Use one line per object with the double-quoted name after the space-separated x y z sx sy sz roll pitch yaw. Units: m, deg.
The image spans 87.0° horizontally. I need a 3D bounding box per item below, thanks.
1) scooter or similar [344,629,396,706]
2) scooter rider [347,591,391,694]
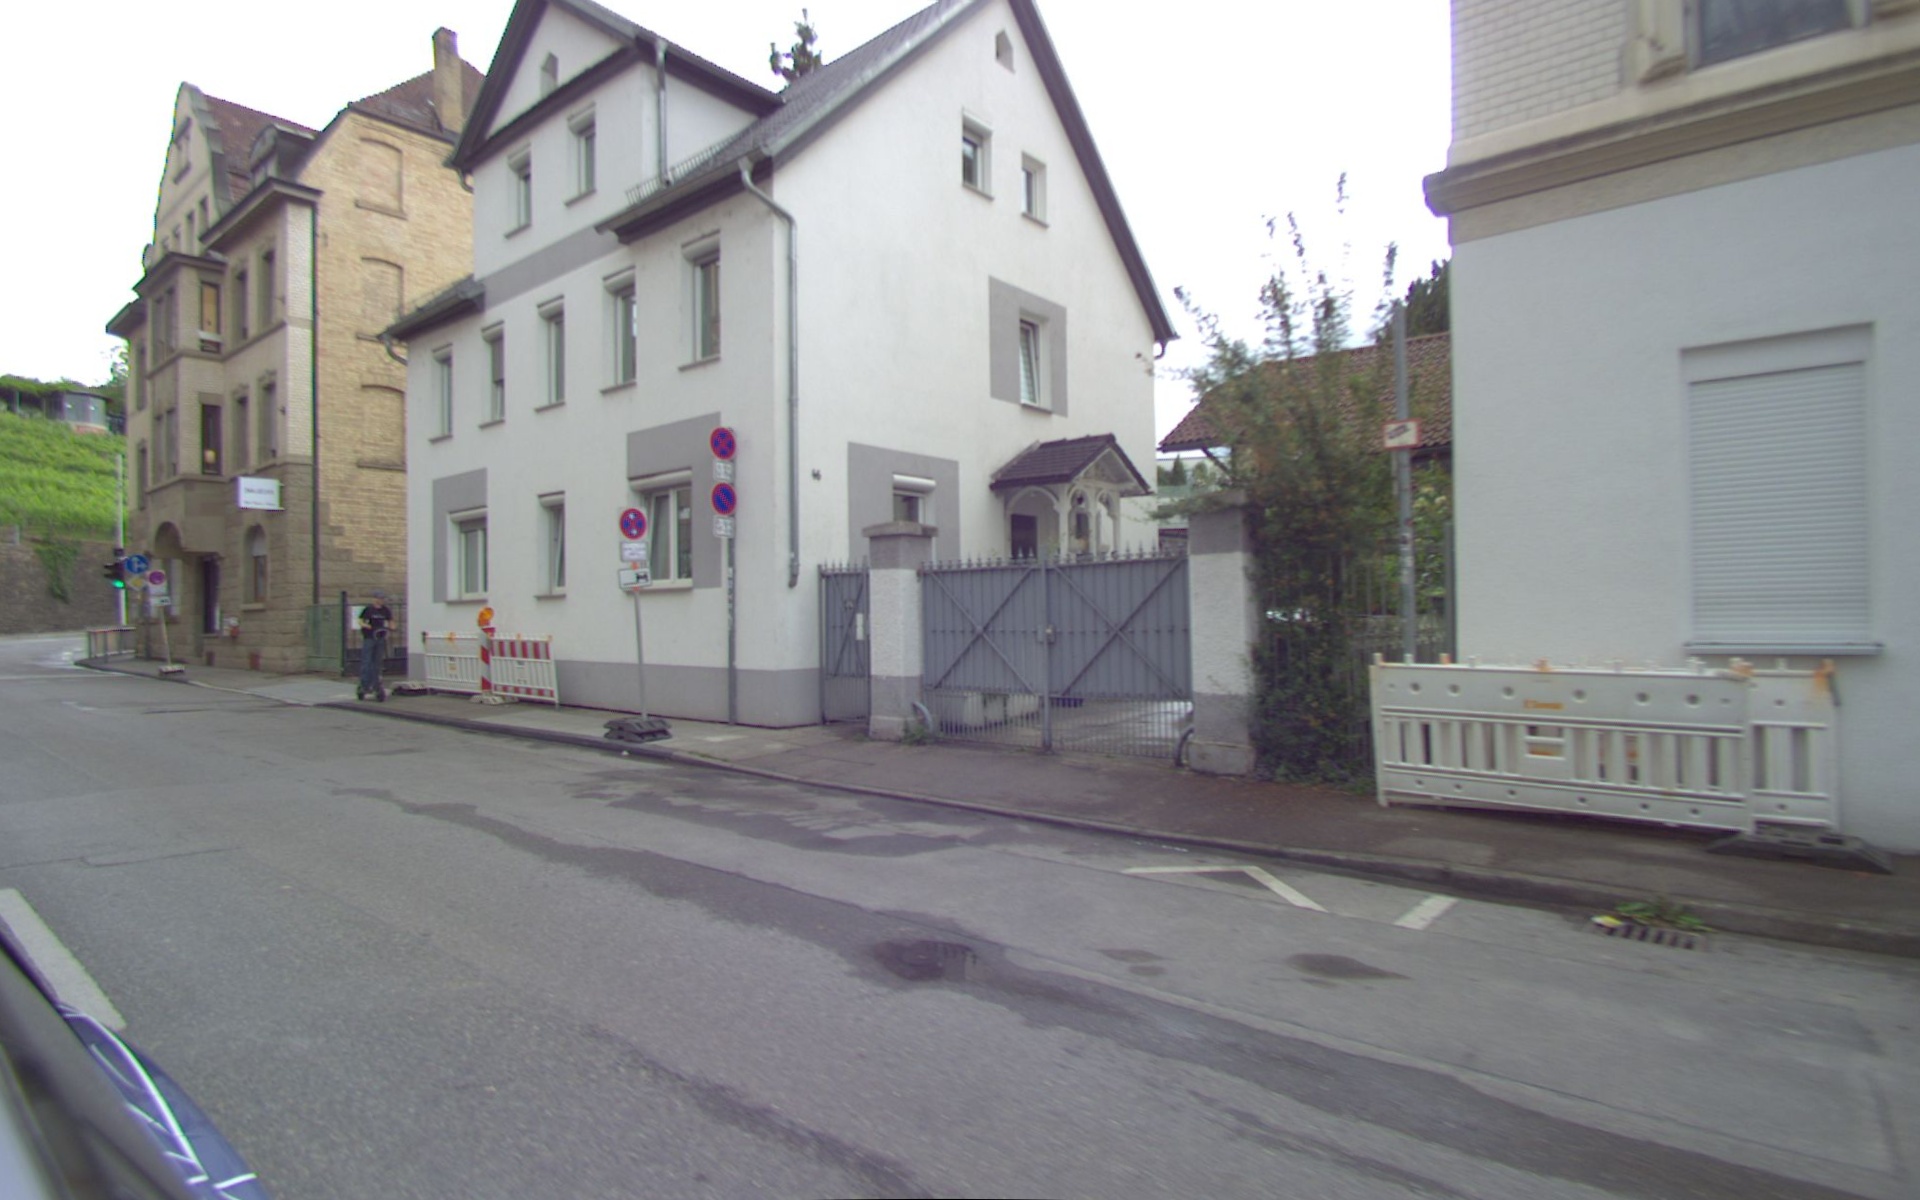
-9.988 1.115 17.128 1.226 1.251 0.374 -1 -1 41 "scooter or similar"
-10.005 0.711 17.132 0.577 1.718 0.482 -3 -2 42 "scooter rider"
